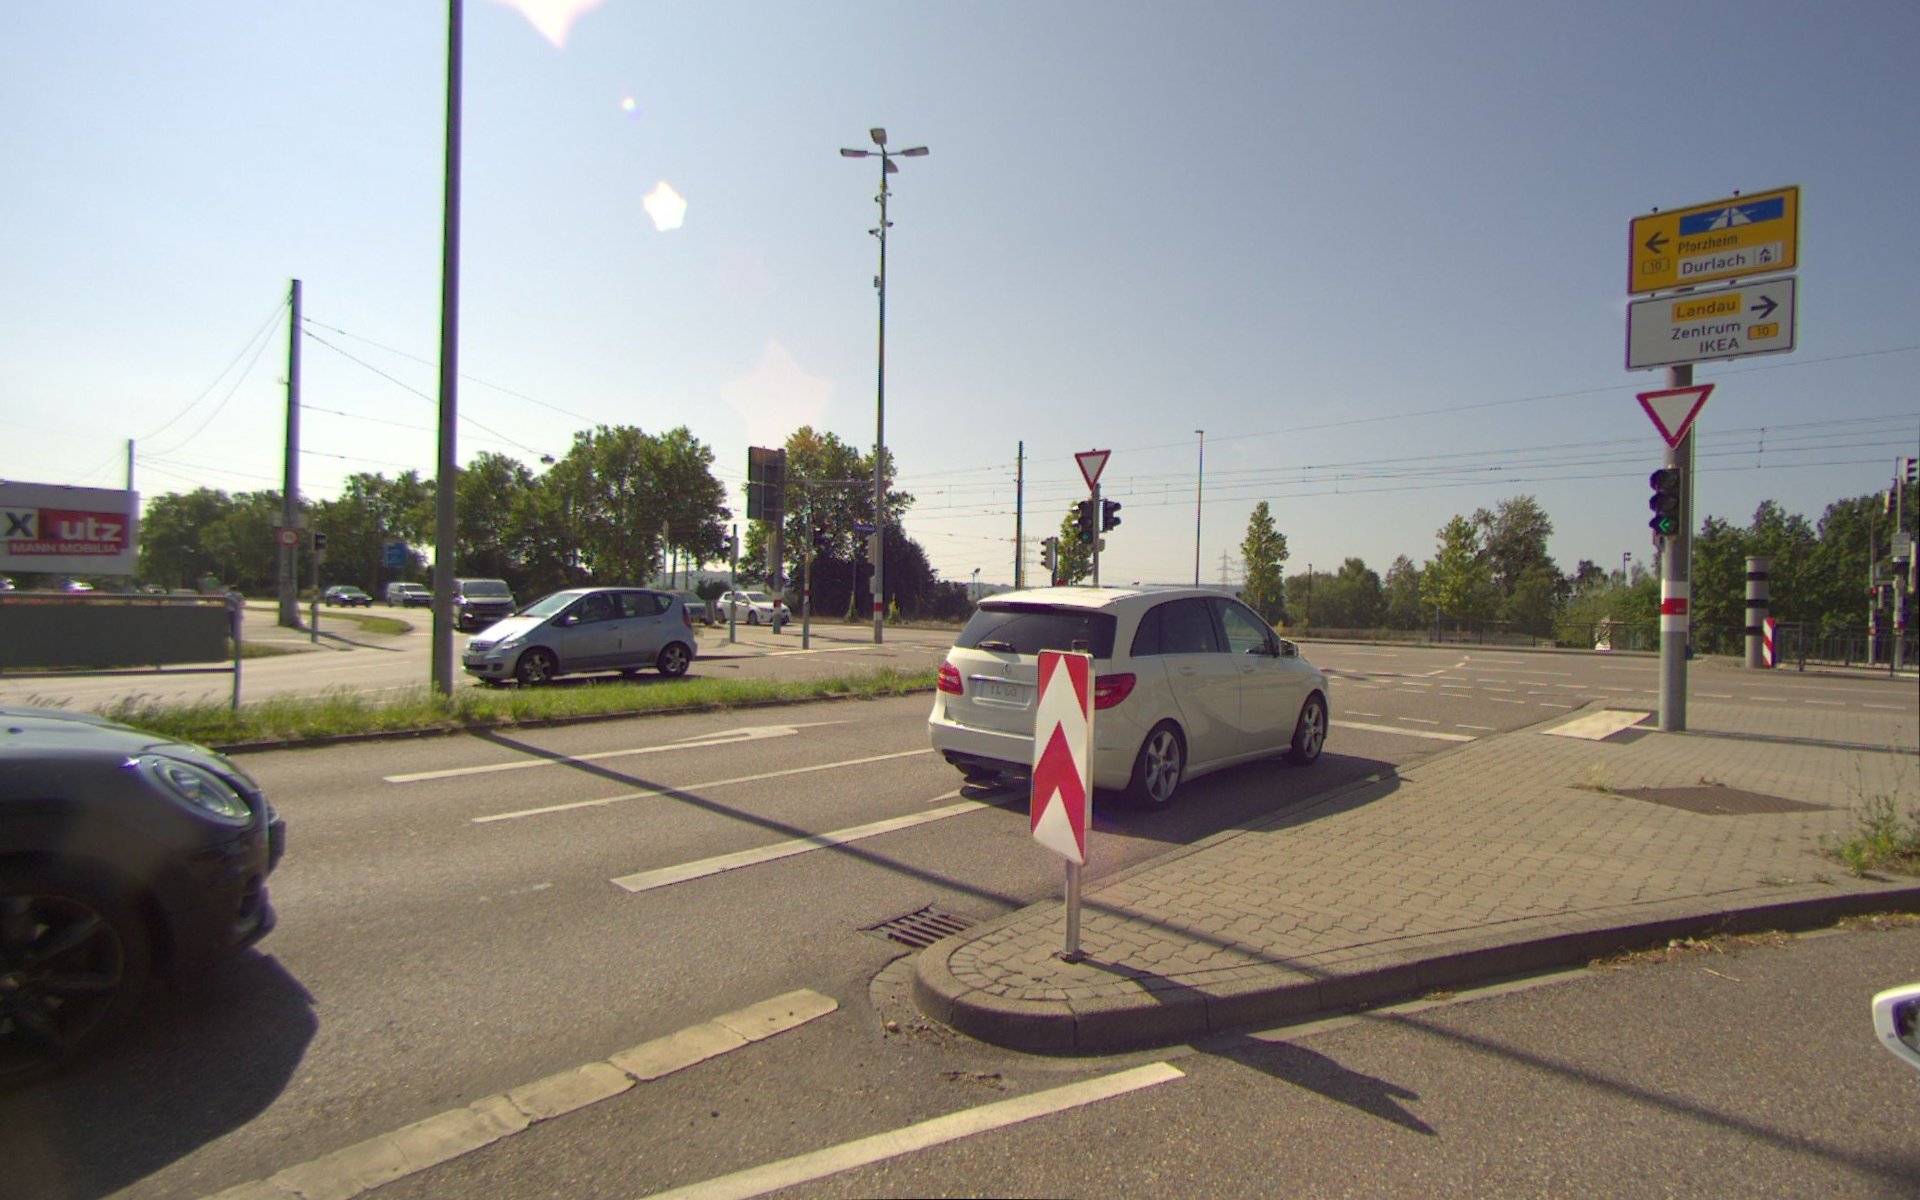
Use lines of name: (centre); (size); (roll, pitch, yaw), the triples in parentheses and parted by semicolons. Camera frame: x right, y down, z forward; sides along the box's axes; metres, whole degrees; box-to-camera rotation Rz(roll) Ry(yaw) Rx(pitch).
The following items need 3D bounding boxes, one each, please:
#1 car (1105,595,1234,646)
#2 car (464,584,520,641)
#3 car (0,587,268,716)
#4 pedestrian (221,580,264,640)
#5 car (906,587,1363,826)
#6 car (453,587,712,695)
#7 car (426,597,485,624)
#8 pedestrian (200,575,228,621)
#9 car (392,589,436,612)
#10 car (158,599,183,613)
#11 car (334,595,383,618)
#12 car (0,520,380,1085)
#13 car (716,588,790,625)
car: (6.824, 0.623, 32.374); (2.035, 1.523, 4.790); (0, 0, 41)
car: (-17.434, 0.419, 37.396); (1.792, 1.951, 3.973); (0, 1, -26)
car: (-7.590, 0.419, 8.691); (1.106, 1.017, 2.477); (-1, -1, 44)
pedestrian: (-20.863, 0.291, 29.225); (0.831, 1.729, 0.900); (0, -1, -25)
car: (1.699, 0.671, 8.412); (1.722, 1.467, 4.365); (1, 0, 42)
car: (-6.422, 0.617, 17.392); (1.609, 1.646, 3.895); (0, 0, 42)
car: (-29.640, 0.618, 58.951); (3.942, 1.541, 1.753); (-1, -1, 41)
pedestrian: (-33.737, -0.079, 45.427); (0.911, 1.998, 0.709); (3, -2, -43)
car: (-39.867, 0.066, 73.291); (3.729, 1.646, 1.624); (0, -1, 41)
car: (-92.354, 0.673, 117.430); (3.729, 1.646, 1.624); (0, -1, 41)
car: (-42.953, 0.471, 71.694); (3.781, 1.593, 1.898); (0, -2, 42)
car: (-3.998, 0.531, 2.437); (1.718, 1.532, 4.178); (1, 0, 42)
car: (-9.219, 0.290, 44.593); (3.302, 1.519, 1.404); (0, -2, 39)
